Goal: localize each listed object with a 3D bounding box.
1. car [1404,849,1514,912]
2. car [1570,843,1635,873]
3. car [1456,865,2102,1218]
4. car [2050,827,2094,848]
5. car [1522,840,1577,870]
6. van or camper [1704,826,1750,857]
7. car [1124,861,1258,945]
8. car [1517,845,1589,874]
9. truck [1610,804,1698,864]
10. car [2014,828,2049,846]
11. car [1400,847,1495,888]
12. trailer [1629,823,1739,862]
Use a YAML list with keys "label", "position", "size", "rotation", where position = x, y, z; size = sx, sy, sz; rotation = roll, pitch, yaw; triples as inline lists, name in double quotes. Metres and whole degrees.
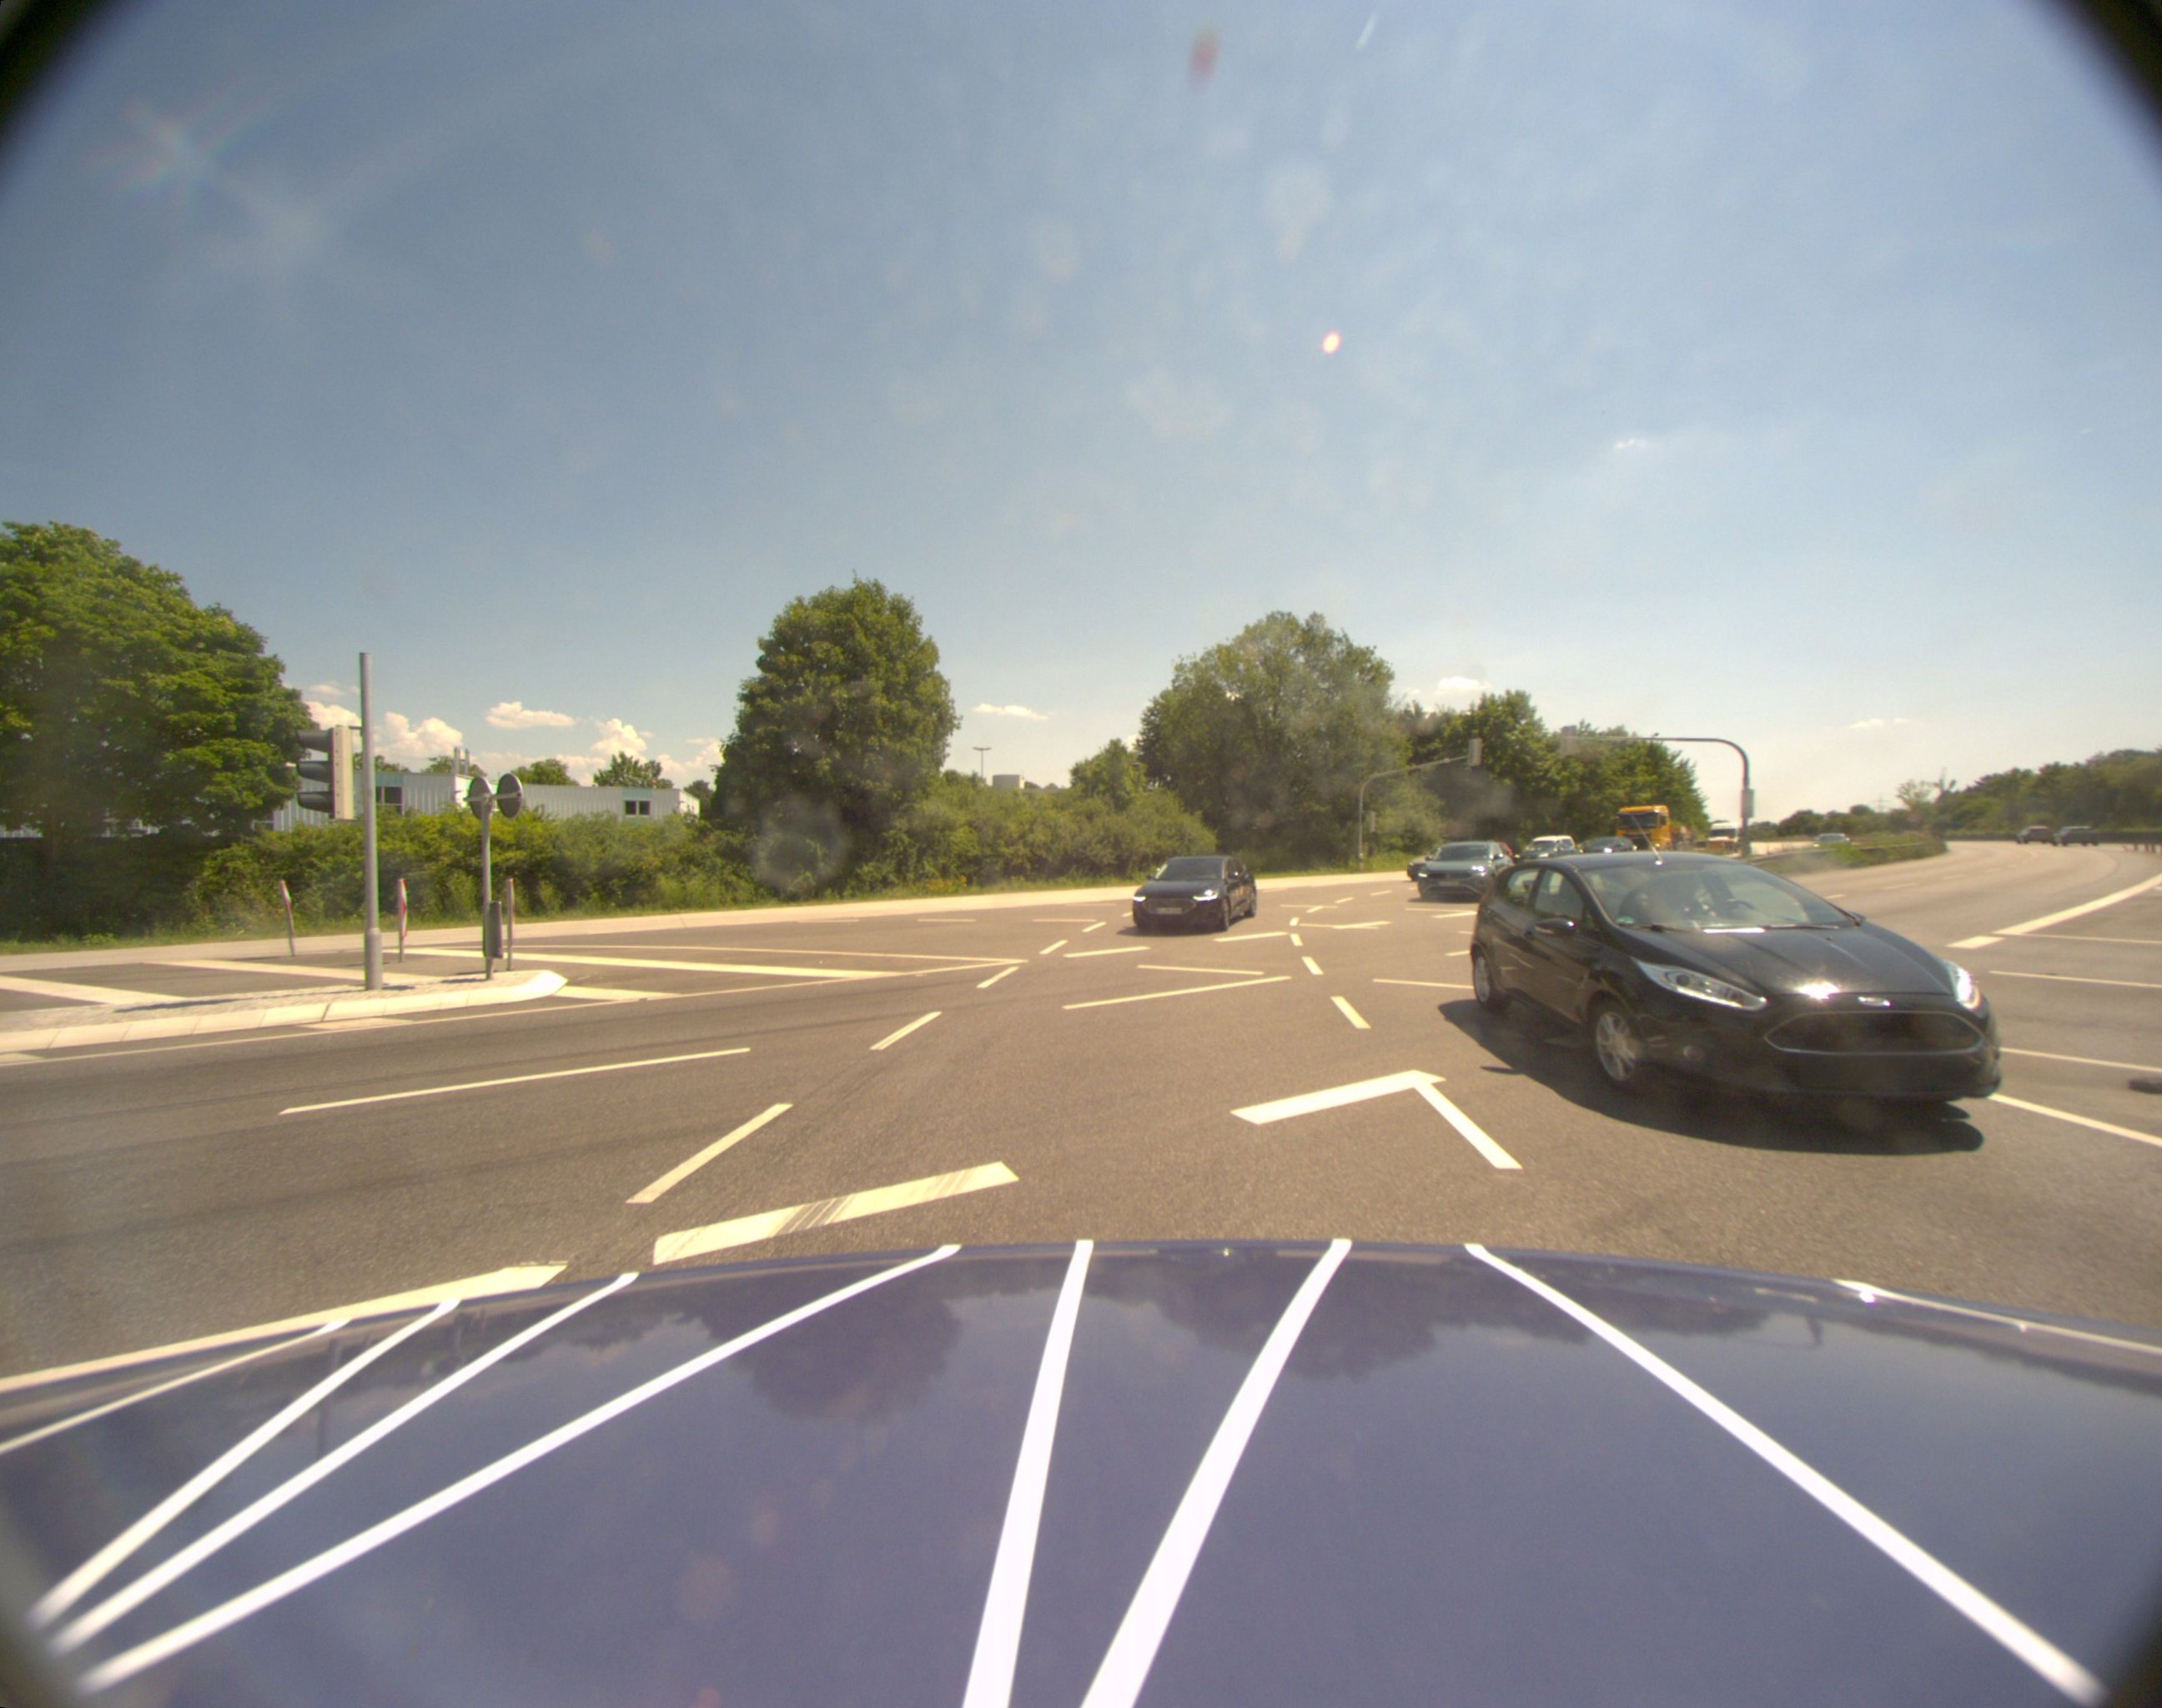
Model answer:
- label: "car"
  position: [10.422, 0.664, 20.798]
  size: [1.702, 1.456, 4.008]
  rotation: [-1, 1, 41]
- label: "car"
  position: [31.492, 0.198, 45.839]
  size: [4.655, 1.630, 1.785]
  rotation: [-2, 1, -36]
- label: "car"
  position: [4.189, 0.900, 5.534]
  size: [1.625, 1.476, 4.003]
  rotation: [-2, 1, 12]
- label: "car"
  position: [84.503, -1.391, 64.838]
  size: [4.666, 1.682, 1.994]
  rotation: [-2, 1, -41]
- label: "car"
  position: [31.050, 0.033, 50.329]
  size: [4.801, 1.797, 1.768]
  rotation: [-2, 1, -41]
- label: "van or camper"
  position: [56.353, -1.134, 66.225]
  size: [5.919, 2.559, 2.064]
  rotation: [-2, 1, -40]
- label: "car"
  position: [2.457, 0.909, 15.906]
  size: [1.728, 1.430, 4.310]
  rotation: [-1, 0, 23]
- label: "car"
  position: [26.109, 0.293, 41.995]
  size: [4.618, 1.402, 1.769]
  rotation: [-2, 1, -36]
- label: "truck"
  position: [39.054, -1.347, 51.692]
  size: [7.483, 3.751, 3.015]
  rotation: [-2, 1, -39]
- label: "car"
  position: [100.779, -1.801, 80.574]
  size: [4.867, 1.763, 1.994]
  rotation: [-2, 1, -42]
- label: "car"
  position: [14.553, 0.500, 30.077]
  size: [4.007, 1.456, 1.887]
  rotation: [-2, 1, -40]
- label: "trailer"
  position: [45.550, -0.908, 57.002]
  size: [16.387, 2.578, 3.029]
  rotation: [-1, 0, -39]
